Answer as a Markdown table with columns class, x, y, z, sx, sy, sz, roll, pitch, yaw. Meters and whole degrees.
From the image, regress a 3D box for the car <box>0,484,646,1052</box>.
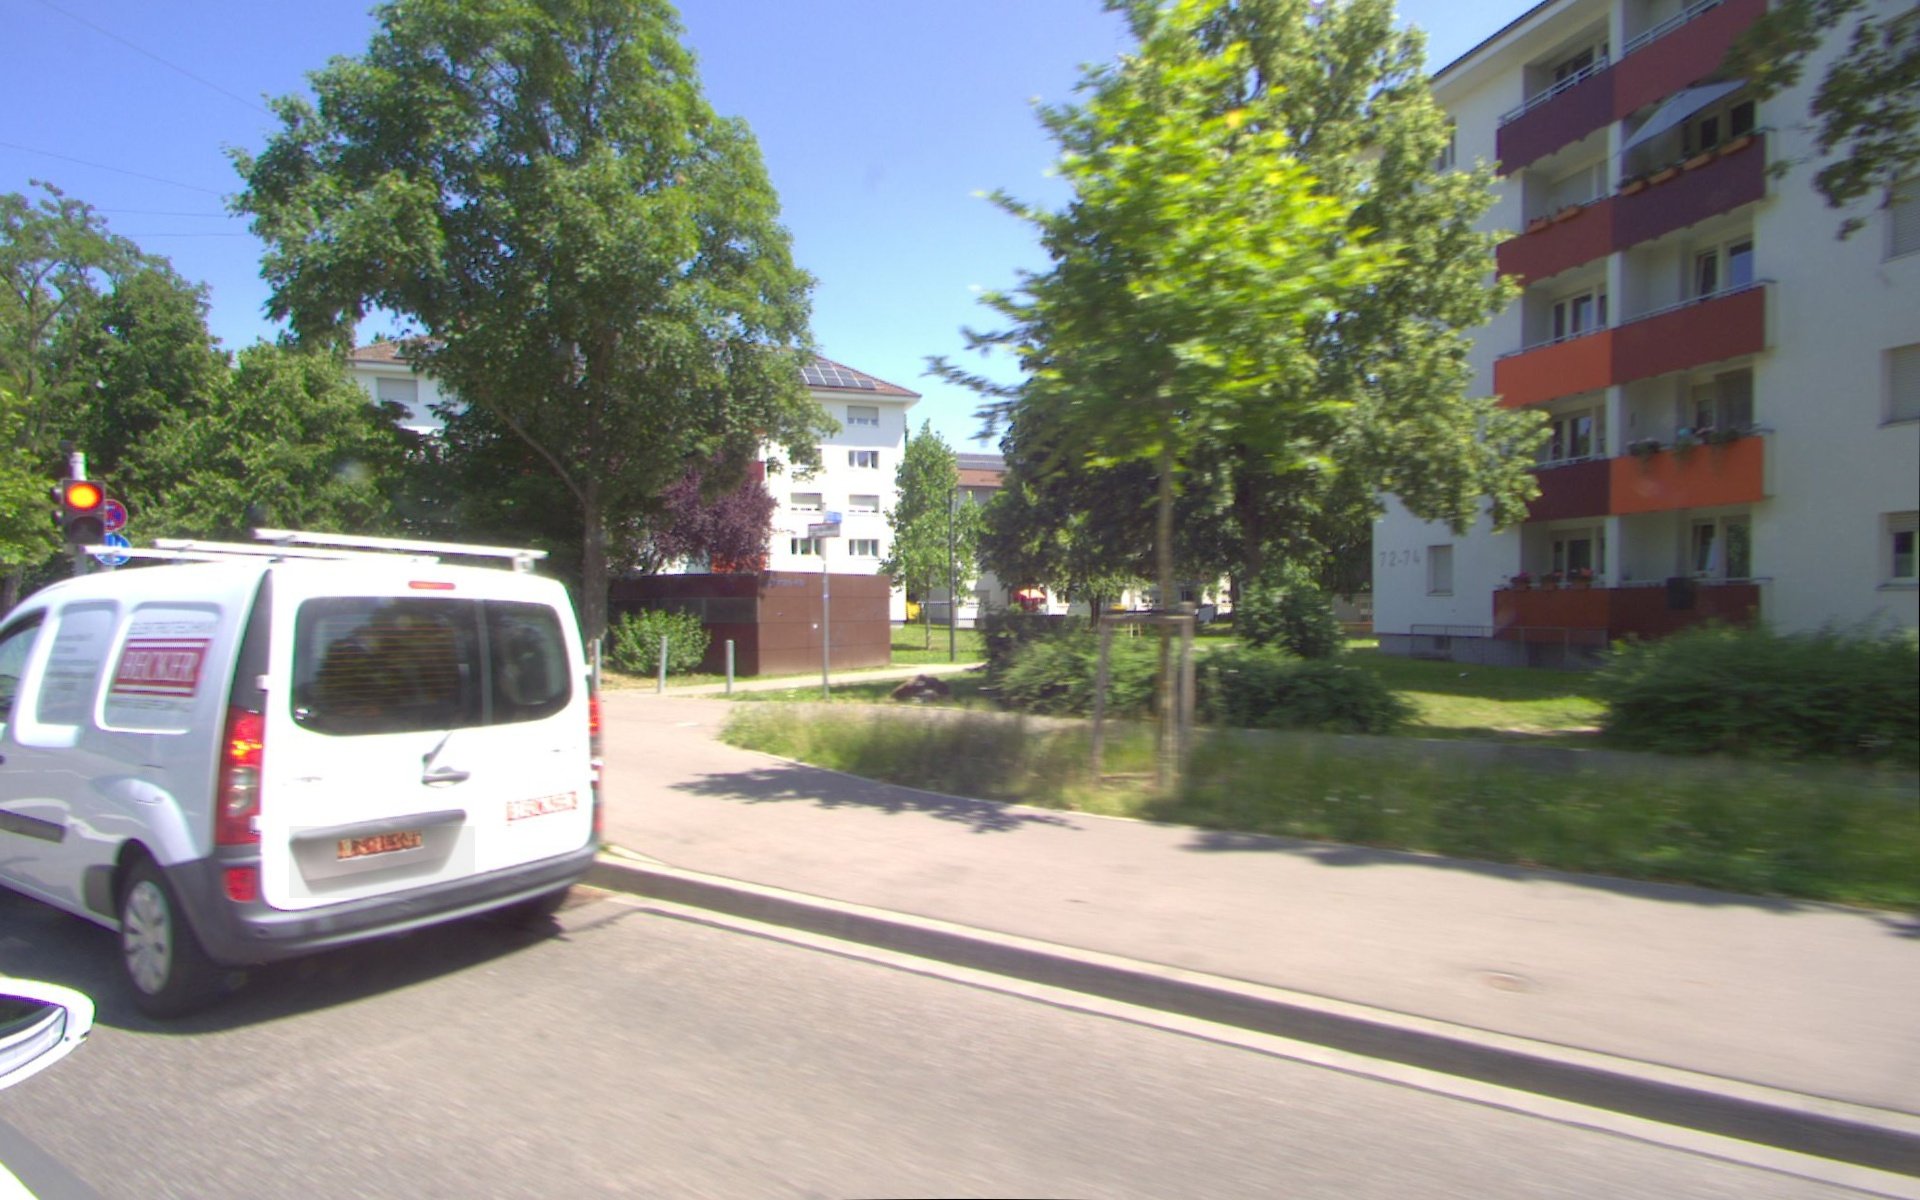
| class | x | y | z | sx | sy | sz | roll | pitch | yaw |
| --- | --- | --- | --- | --- | --- | --- | --- | --- | --- |
| car | -3.876 | 0.603 | 5.328 | 4.392 | 1.906 | 1.821 | 0 | -1 | 33 |
